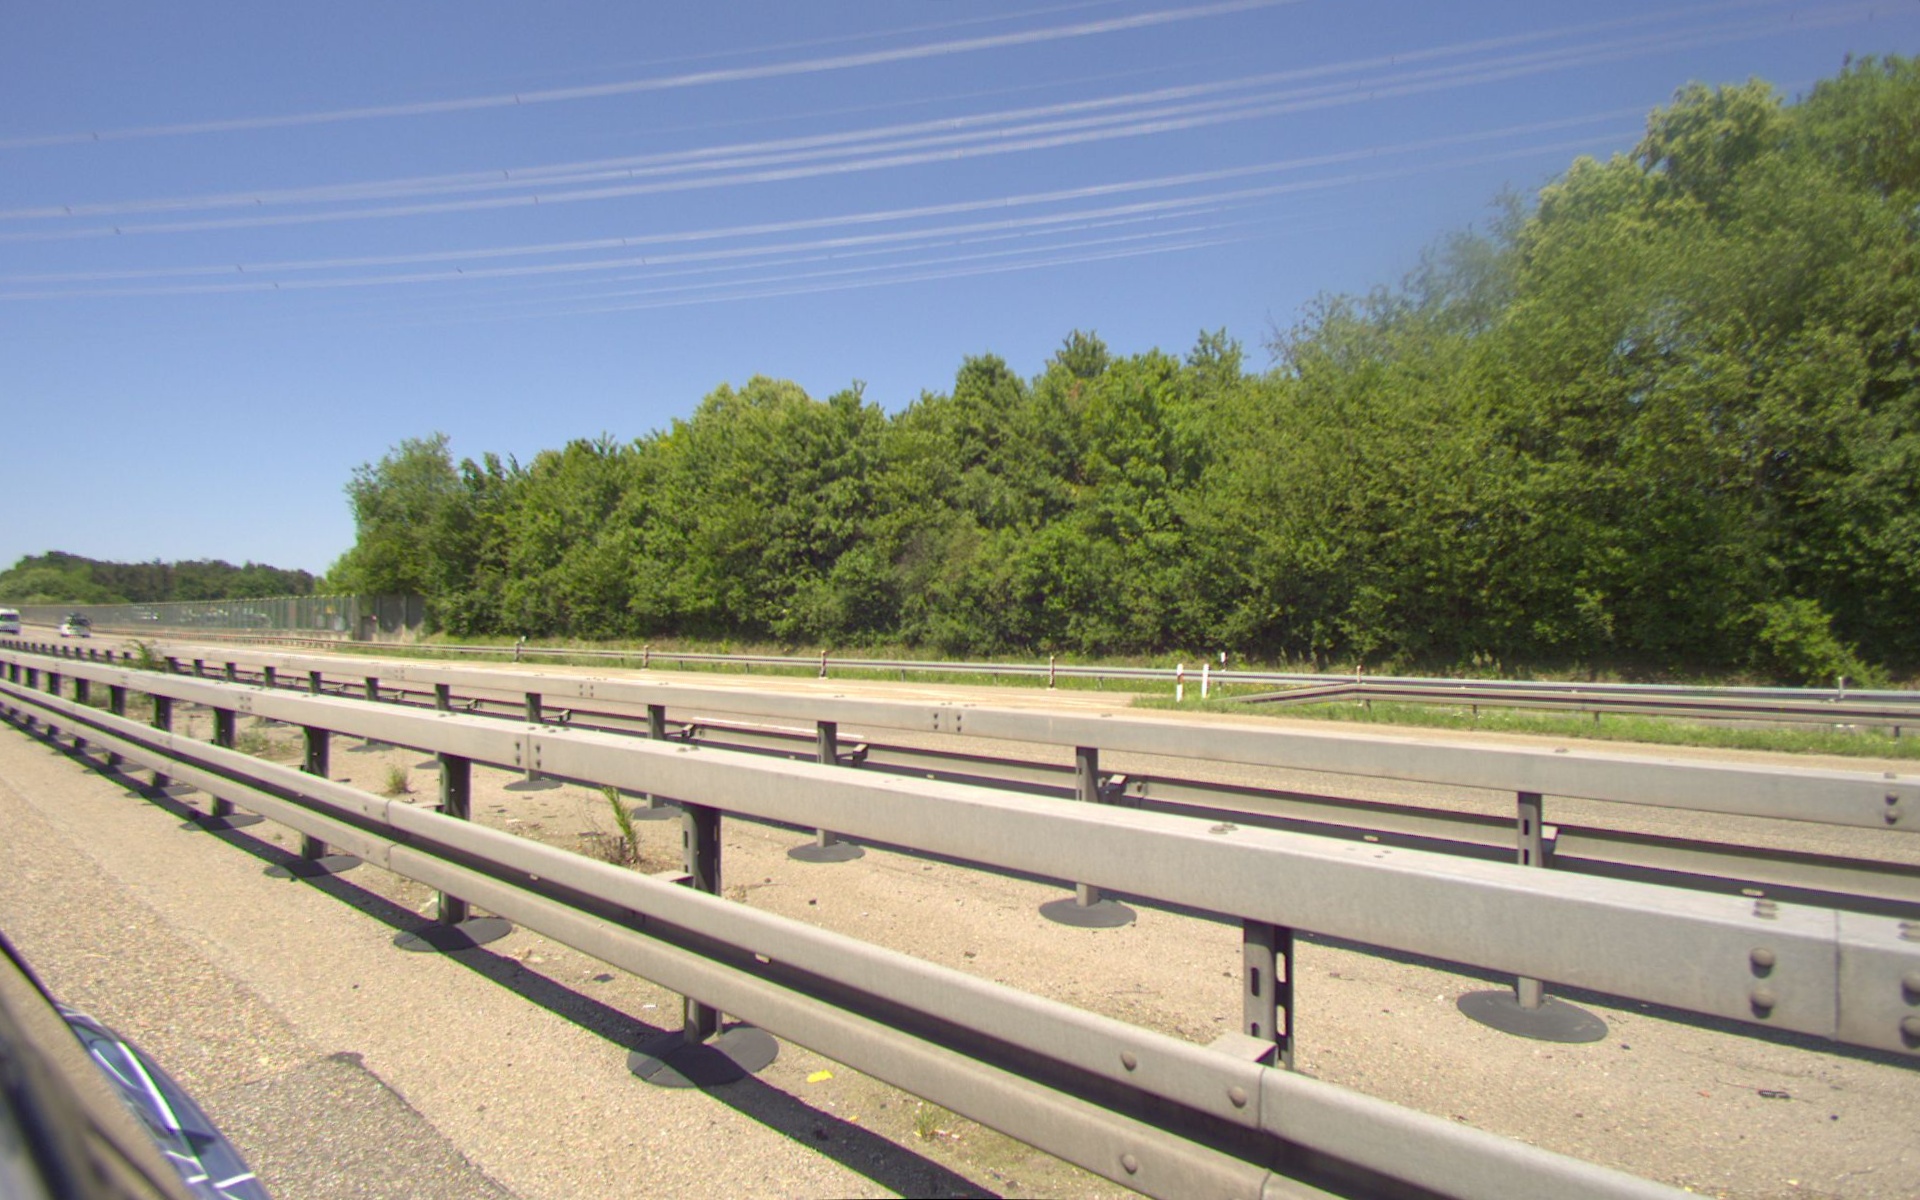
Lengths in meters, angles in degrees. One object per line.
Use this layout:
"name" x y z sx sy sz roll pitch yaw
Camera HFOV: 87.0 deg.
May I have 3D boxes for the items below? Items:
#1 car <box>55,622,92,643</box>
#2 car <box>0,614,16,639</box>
"car" -87.214 3.169 99.514 5.488 1.919 1.846 -1 -3 40
"car" -100.852 2.733 106.003 5.887 2.613 2.133 -1 -2 41
